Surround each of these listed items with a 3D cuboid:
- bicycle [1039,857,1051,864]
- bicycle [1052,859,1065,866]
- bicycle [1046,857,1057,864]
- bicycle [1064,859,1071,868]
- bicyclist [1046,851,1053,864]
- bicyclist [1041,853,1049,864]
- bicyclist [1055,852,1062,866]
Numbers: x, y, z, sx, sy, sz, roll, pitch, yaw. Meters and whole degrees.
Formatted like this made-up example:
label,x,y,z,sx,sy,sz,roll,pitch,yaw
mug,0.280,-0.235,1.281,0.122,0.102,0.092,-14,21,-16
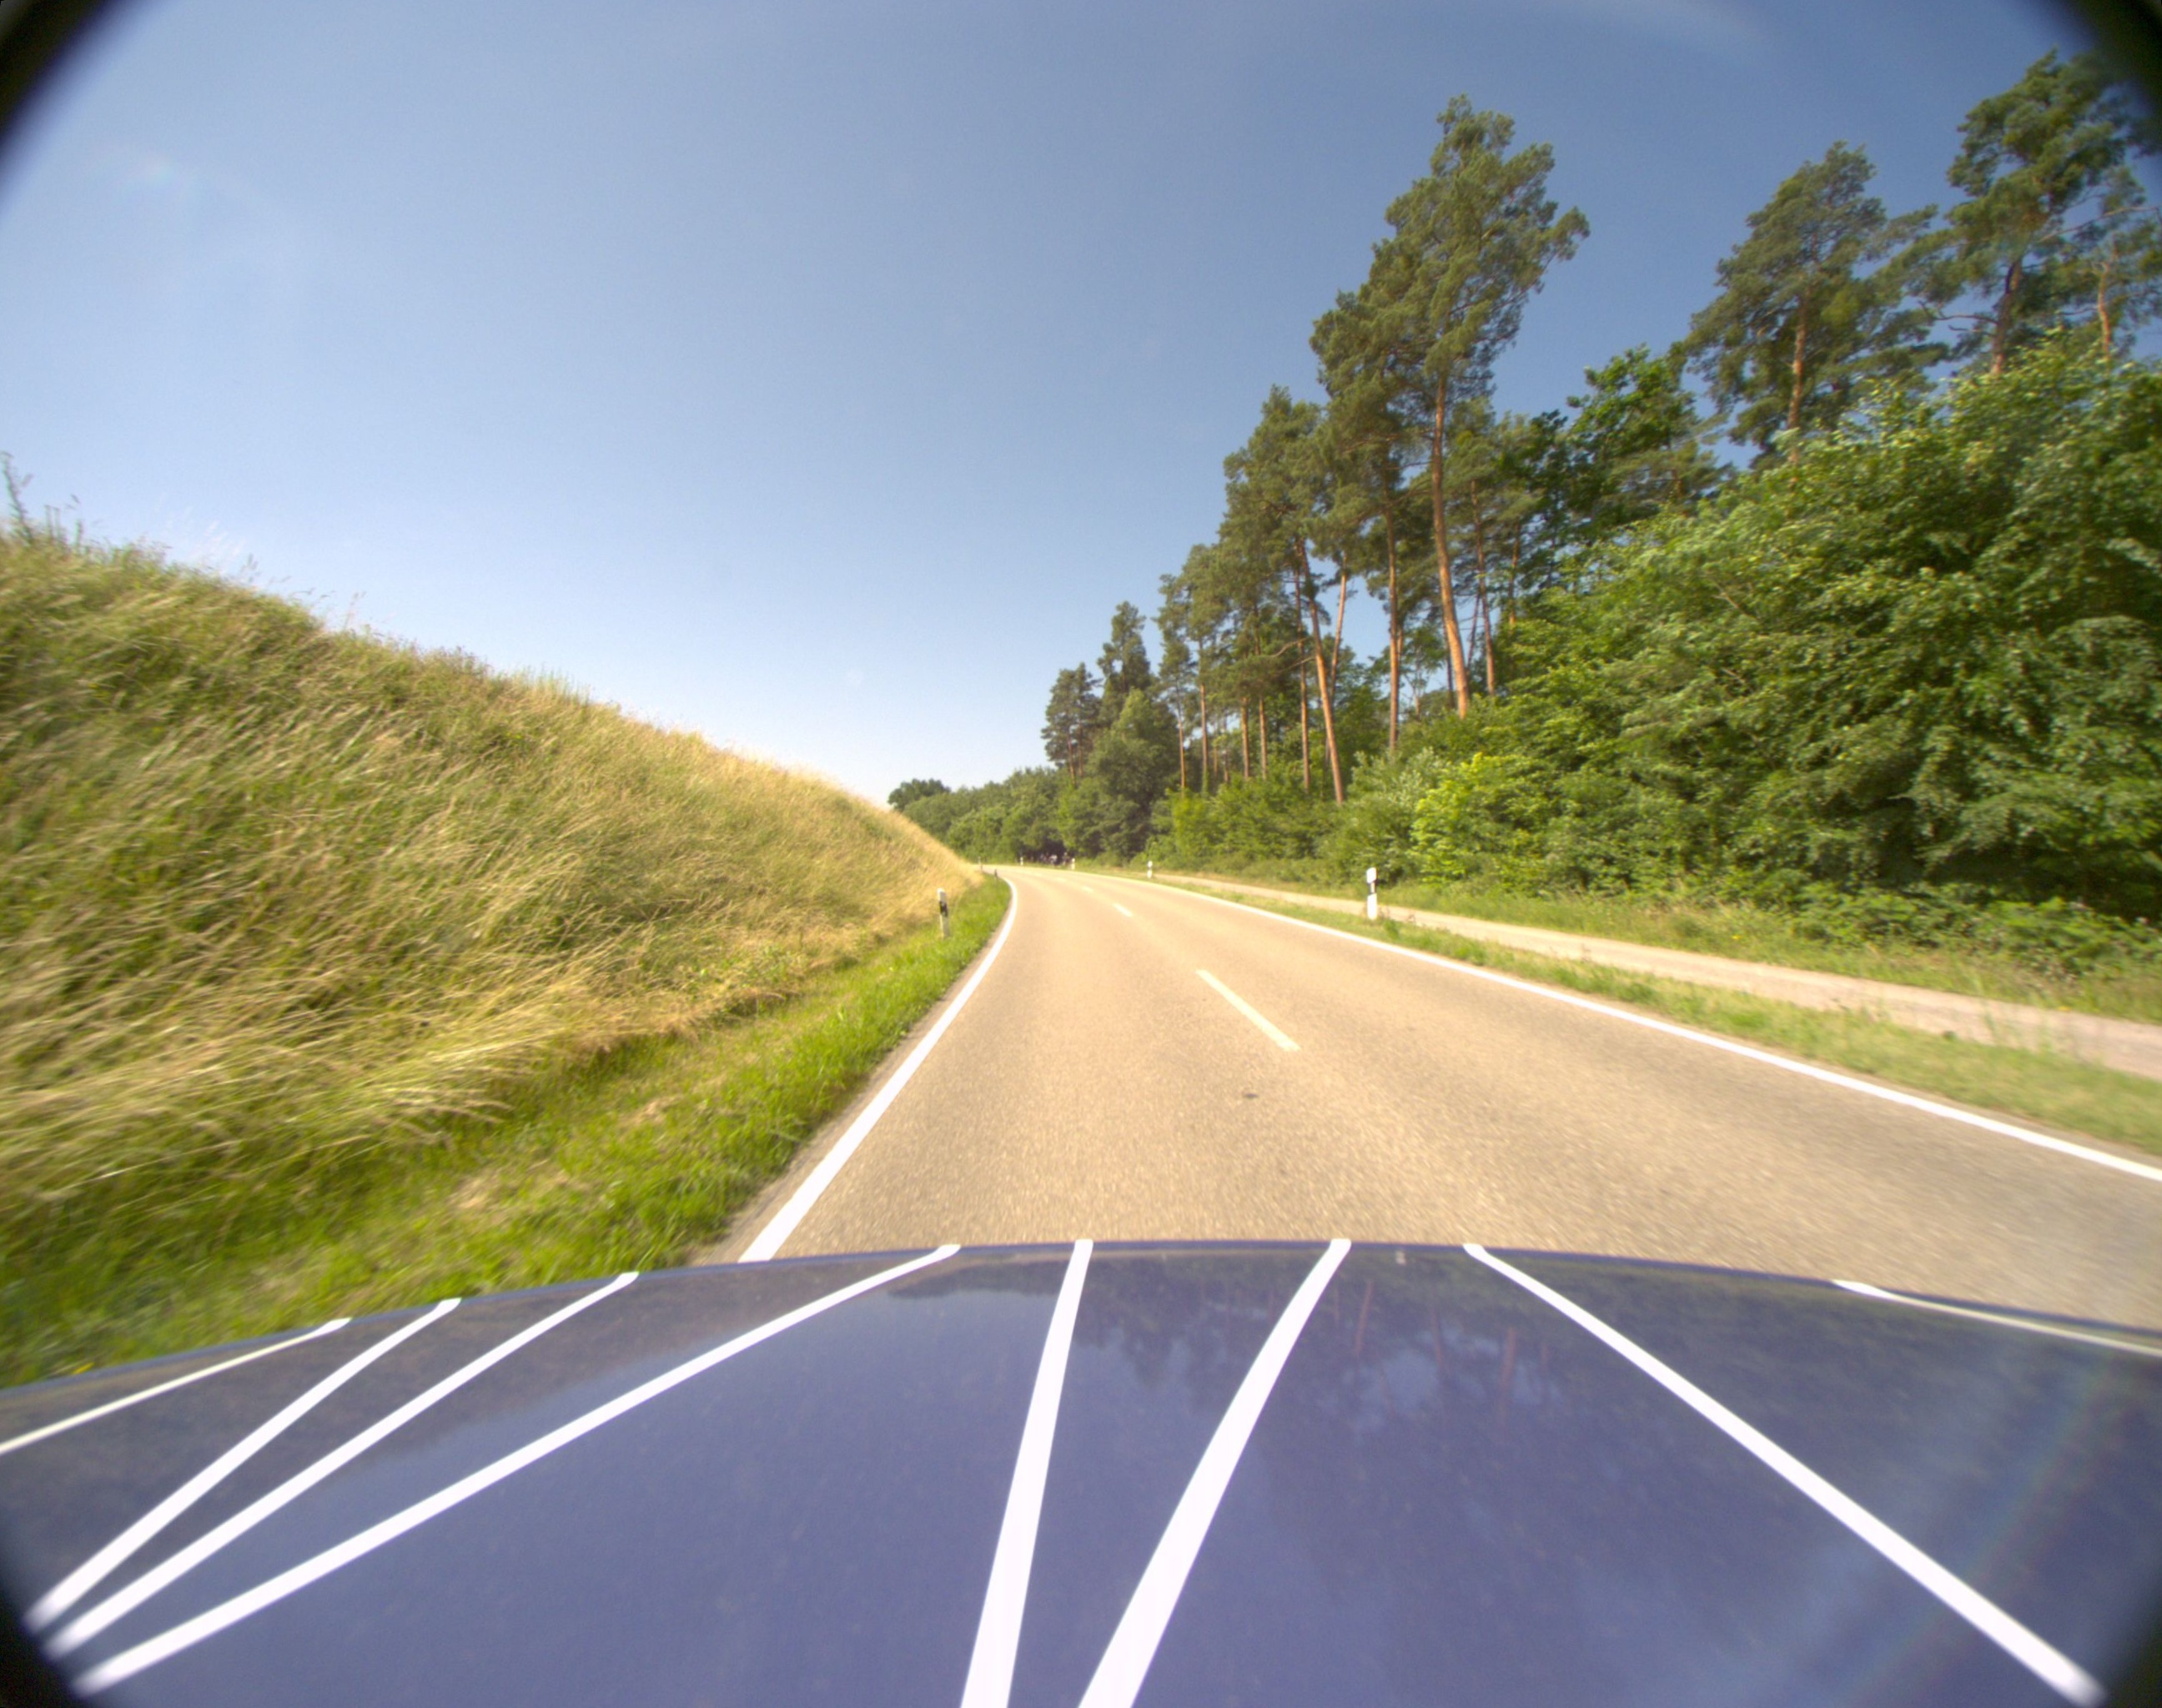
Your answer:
label,x,y,z,sx,sy,sz,roll,pitch,yaw
bicycle,-4.948,0.943,104.345,0.604,0.825,1.988,-5,1,25
bicycle,-2.938,1.143,100.212,0.604,0.825,1.988,-1,2,32
bicycle,-4.064,0.835,103.486,0.604,0.825,1.988,-2,2,25
bicycle,-1.664,1.176,96.452,0.581,1.080,1.448,-3,0,10
bicyclist,-4.305,0.478,102.984,0.604,1.691,0.852,-1,2,25
bicyclist,-4.971,0.625,104.334,0.604,1.536,0.873,-5,1,25
bicyclist,-2.950,0.677,100.222,0.604,1.709,0.791,-1,2,32
